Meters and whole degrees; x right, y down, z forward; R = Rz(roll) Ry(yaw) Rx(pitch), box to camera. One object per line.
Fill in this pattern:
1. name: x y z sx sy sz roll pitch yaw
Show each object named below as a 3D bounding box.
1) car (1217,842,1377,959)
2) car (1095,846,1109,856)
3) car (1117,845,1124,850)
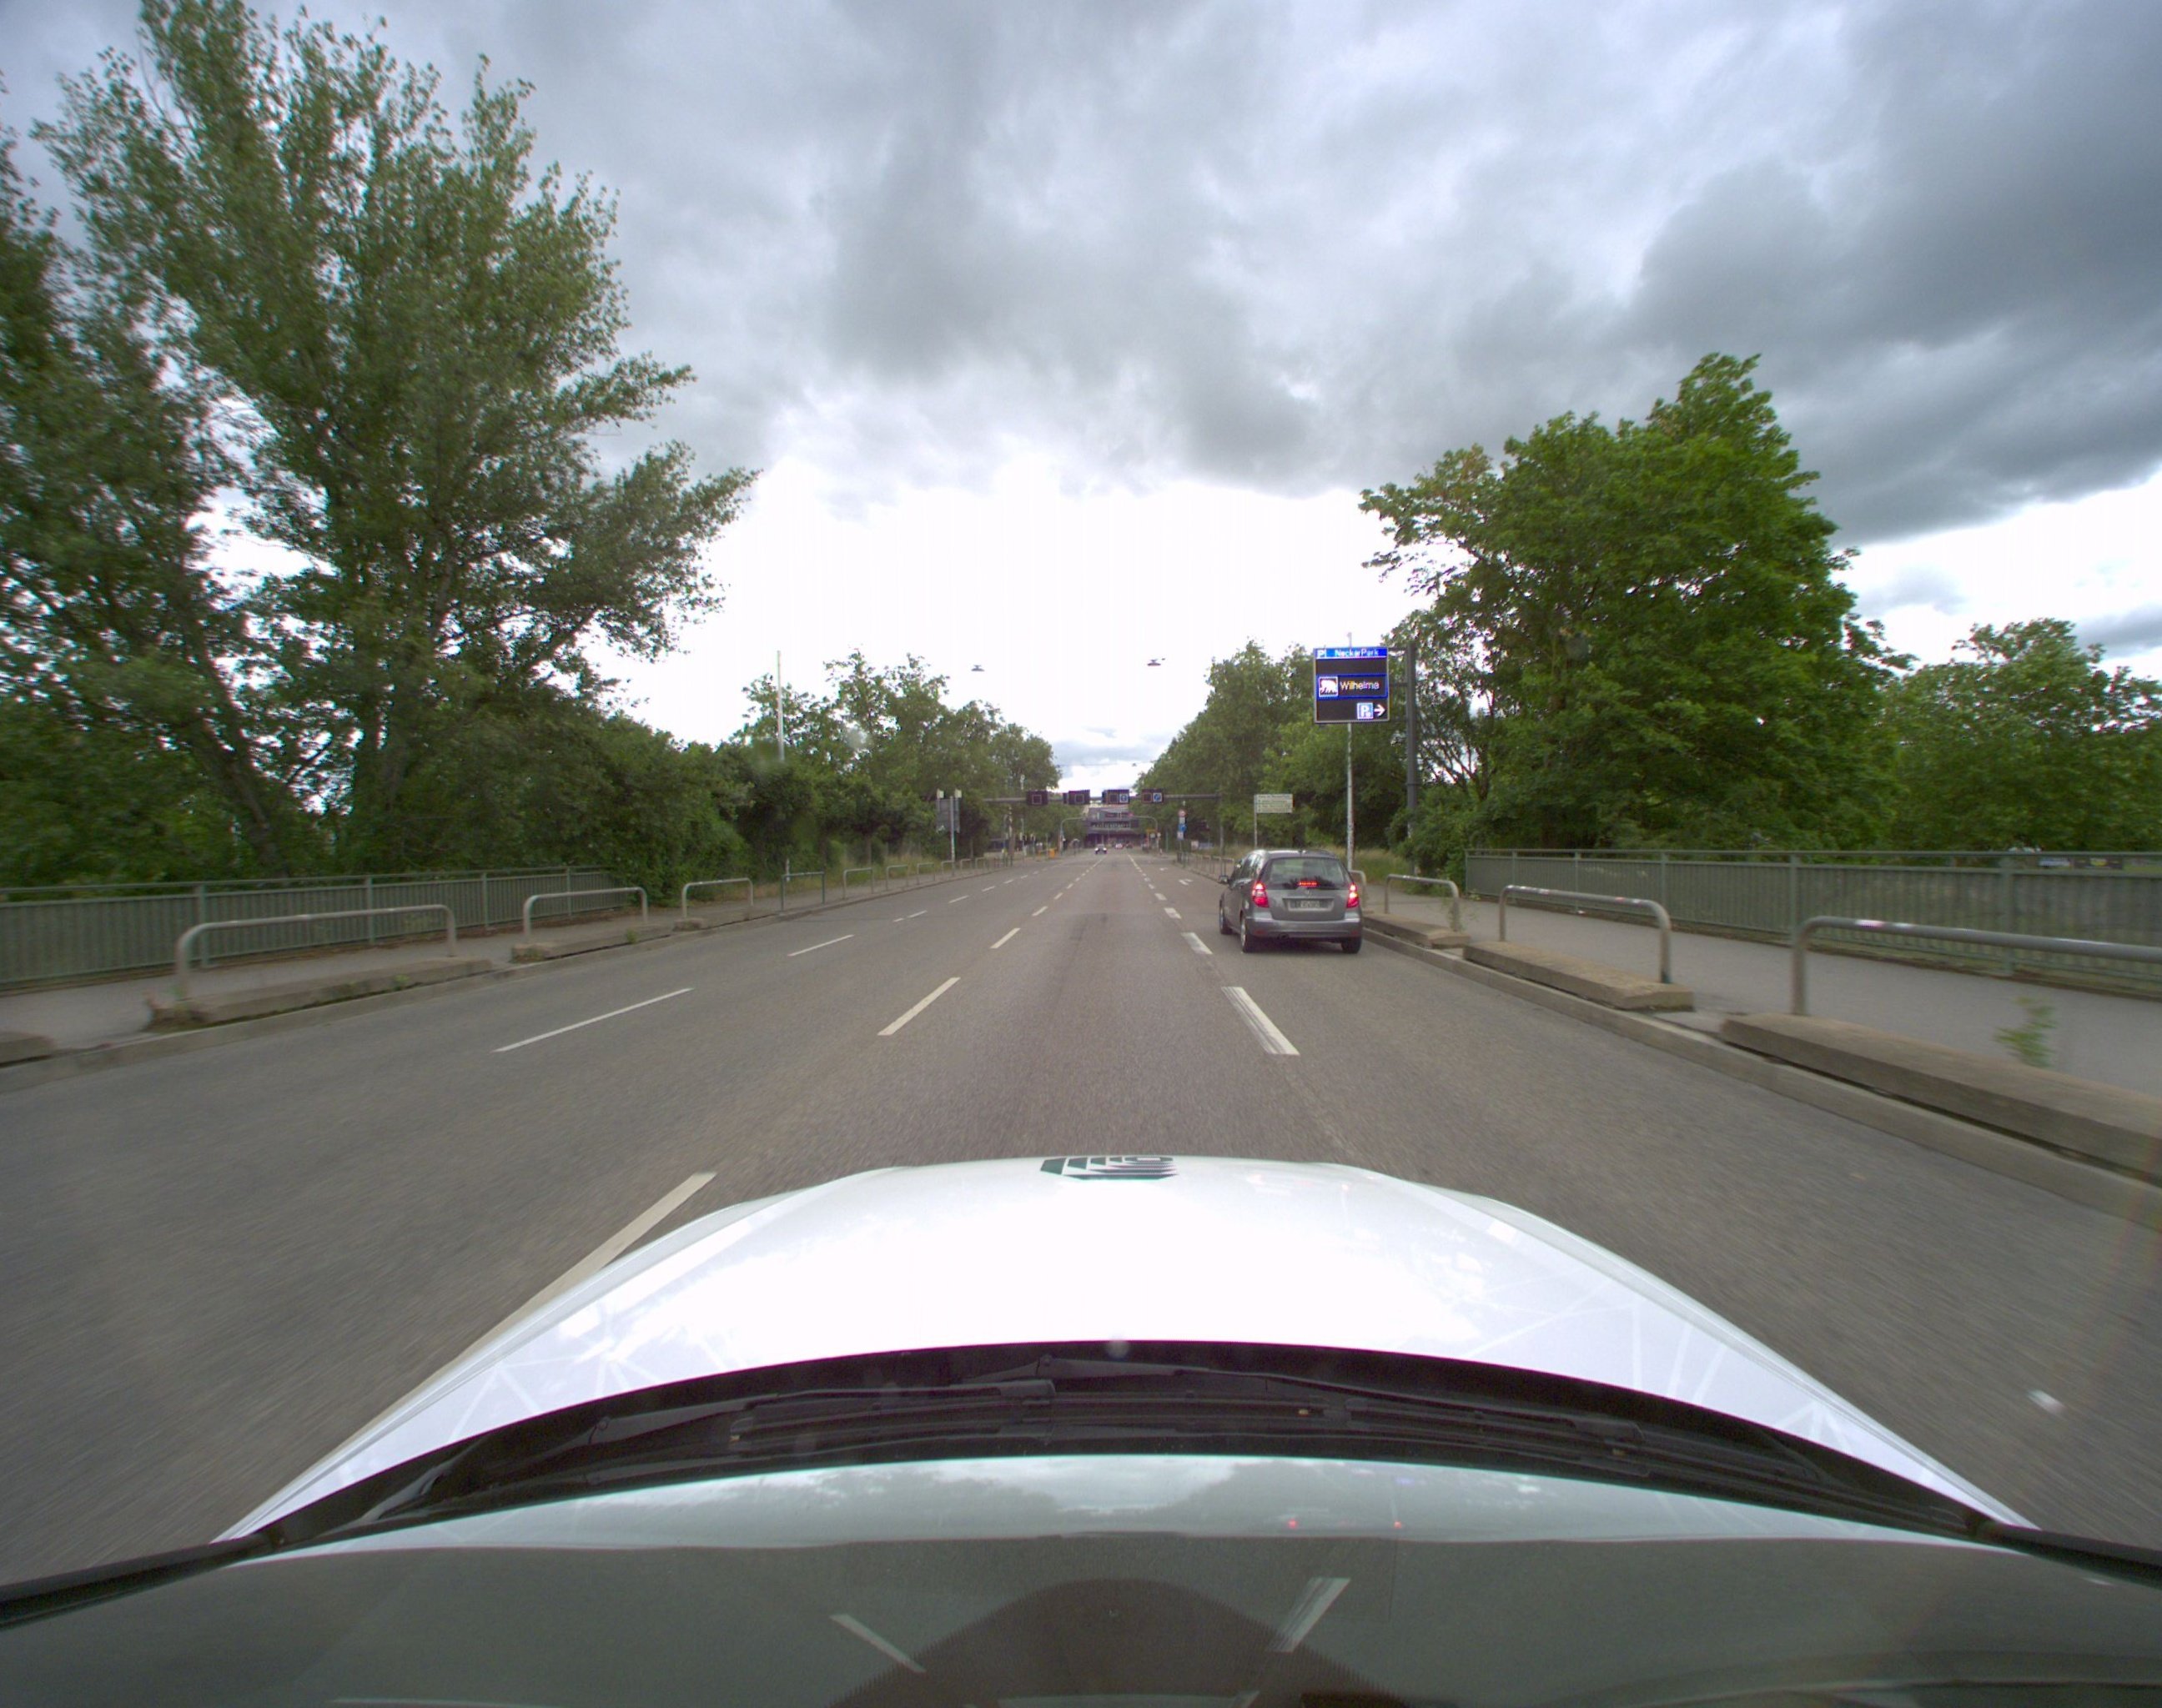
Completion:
1. car: 3.356 0.692 13.444 1.818 1.616 4.038 -1 -1 4
2. car: 3.684 -0.501 139.678 1.984 1.660 4.524 -3 0 6
3. car: 11.923 -1.925 246.007 1.770 1.460 3.826 1 0 4
